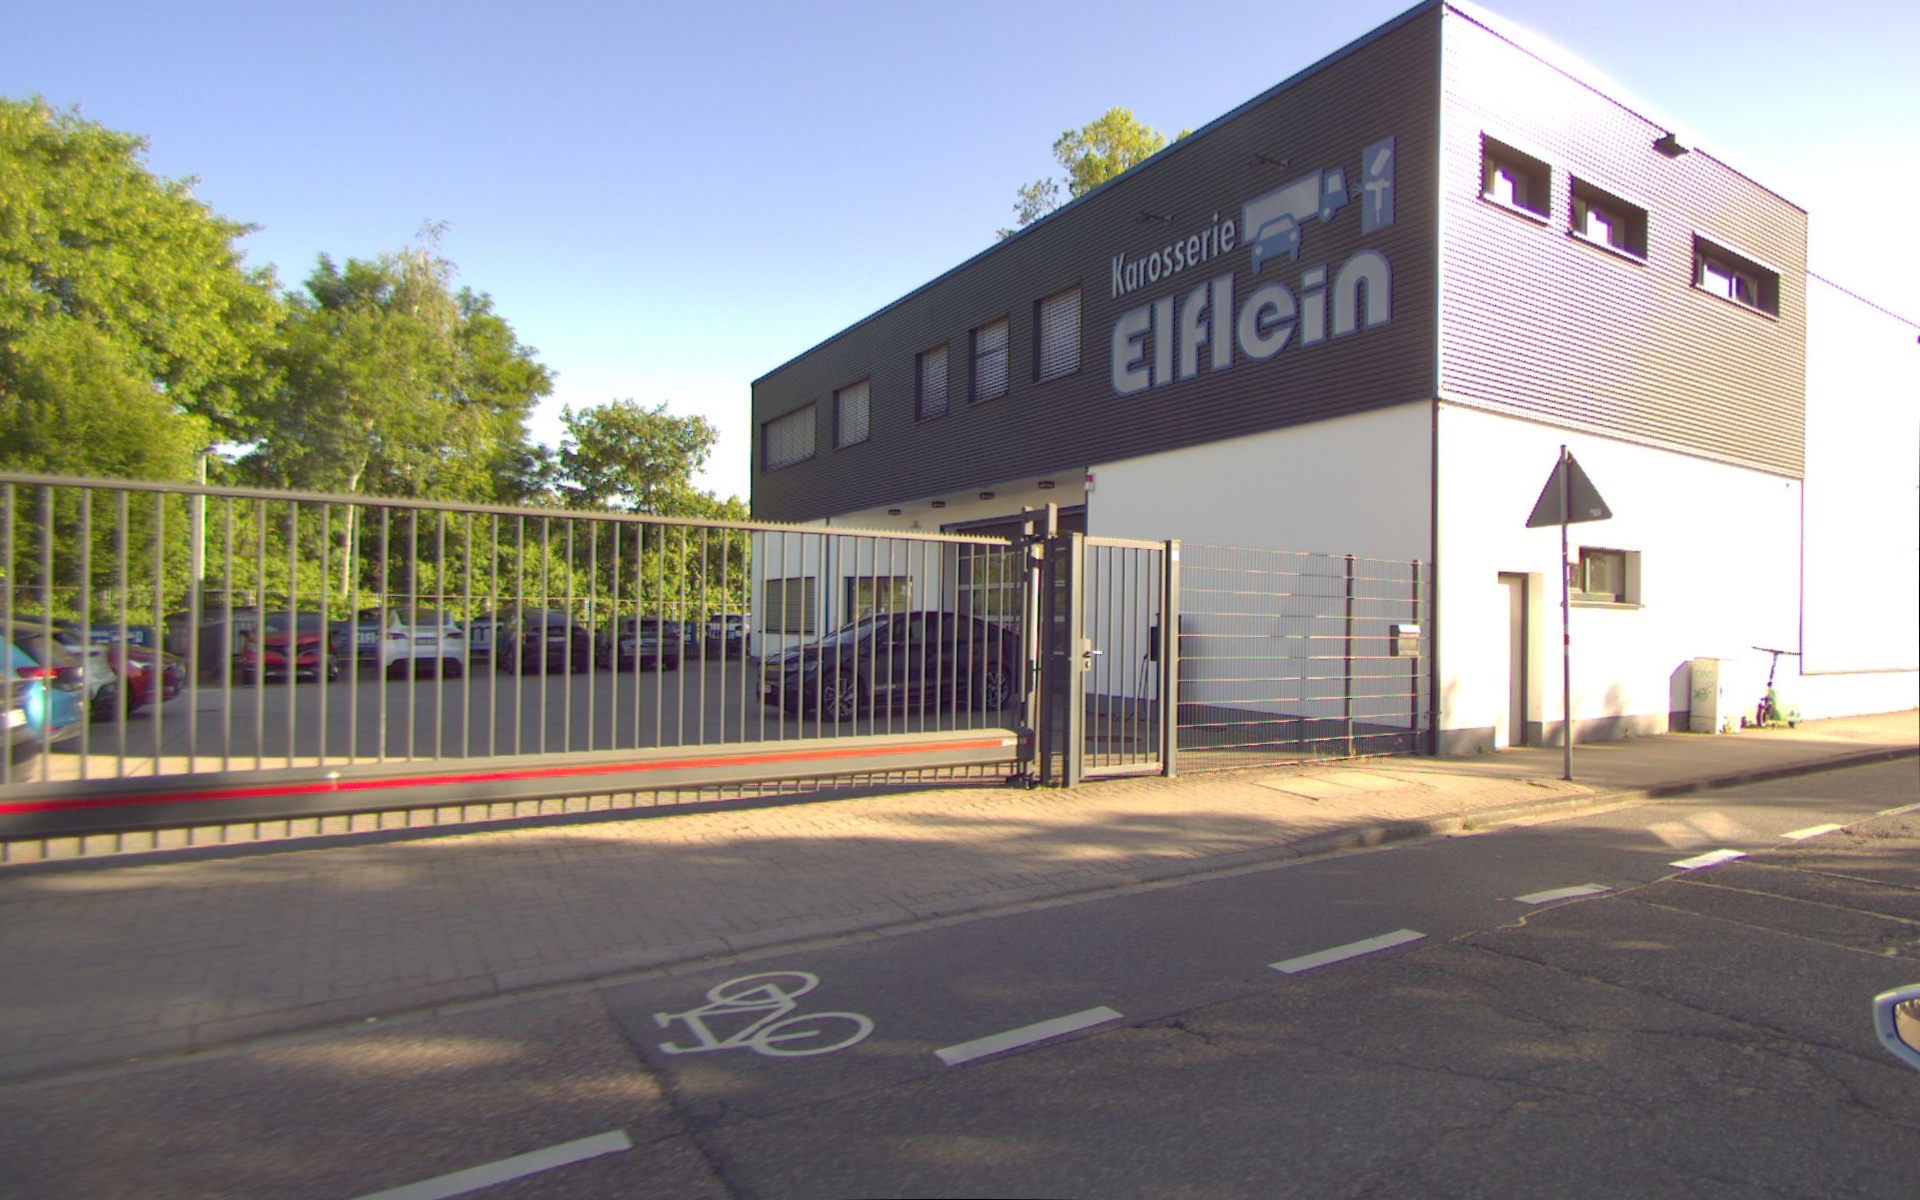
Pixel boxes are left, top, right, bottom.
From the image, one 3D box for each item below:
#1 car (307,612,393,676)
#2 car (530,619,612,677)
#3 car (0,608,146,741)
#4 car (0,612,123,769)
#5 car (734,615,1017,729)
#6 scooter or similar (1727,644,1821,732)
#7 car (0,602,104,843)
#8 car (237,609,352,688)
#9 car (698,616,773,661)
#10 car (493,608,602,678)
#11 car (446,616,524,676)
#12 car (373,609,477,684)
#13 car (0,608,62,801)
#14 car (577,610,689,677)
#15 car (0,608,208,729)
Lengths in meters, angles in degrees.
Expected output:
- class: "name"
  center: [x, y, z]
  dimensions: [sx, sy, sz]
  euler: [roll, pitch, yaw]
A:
- class: "car"
  center: [-17.115, 1.229, 28.355]
  dimensions: [1.853, 1.672, 4.172]
  euler: [1, -2, -29]
- class: "car"
  center: [-12.237, 1.473, 31.450]
  dimensions: [1.853, 1.672, 4.172]
  euler: [1, -2, -29]
- class: "car"
  center: [-12.839, 0.914, 12.523]
  dimensions: [3.959, 1.612, 1.858]
  euler: [2, -2, -34]
- class: "car"
  center: [-11.289, 0.910, 10.274]
  dimensions: [3.959, 1.597, 1.858]
  euler: [2, -2, -34]
- class: "car"
  center: [-1.303, 1.052, 16.037]
  dimensions: [4.135, 1.561, 1.858]
  euler: [0, -1, -34]
- class: "scooter or similar"
  center: [12.256, 1.300, 15.117]
  dimensions: [1.734, 1.219, 0.504]
  euler: [2, 2, -32]
- class: "car"
  center: [-8.151, 0.775, 6.323]
  dimensions: [3.959, 1.560, 1.858]
  euler: [2, -2, -34]
- class: "car"
  center: [-15.482, 1.102, 23.562]
  dimensions: [1.853, 1.672, 4.172]
  euler: [1, -2, -29]
- class: "car"
  center: [-8.682, 1.496, 39.184]
  dimensions: [1.838, 1.672, 4.205]
  euler: [0, -2, 2]
- class: "car"
  center: [-10.915, 1.124, 26.424]
  dimensions: [1.987, 1.672, 4.239]
  euler: [2, -2, -31]
- class: "car"
  center: [-14.231, 1.356, 29.989]
  dimensions: [1.853, 1.672, 4.172]
  euler: [1, -2, -29]
- class: "car"
  center: [-13.263, 1.125, 24.786]
  dimensions: [1.987, 1.672, 4.239]
  euler: [2, -2, -31]
- class: "car"
  center: [-10.184, 0.860, 8.206]
  dimensions: [3.959, 1.627, 1.858]
  euler: [2, -2, -34]
- class: "car"
  center: [-9.044, 1.174, 27.579]
  dimensions: [1.987, 1.672, 4.239]
  euler: [2, -2, -31]
- class: "car"
  center: [-13.710, 0.972, 14.706]
  dimensions: [4.159, 1.672, 1.950]
  euler: [2, -2, -34]
